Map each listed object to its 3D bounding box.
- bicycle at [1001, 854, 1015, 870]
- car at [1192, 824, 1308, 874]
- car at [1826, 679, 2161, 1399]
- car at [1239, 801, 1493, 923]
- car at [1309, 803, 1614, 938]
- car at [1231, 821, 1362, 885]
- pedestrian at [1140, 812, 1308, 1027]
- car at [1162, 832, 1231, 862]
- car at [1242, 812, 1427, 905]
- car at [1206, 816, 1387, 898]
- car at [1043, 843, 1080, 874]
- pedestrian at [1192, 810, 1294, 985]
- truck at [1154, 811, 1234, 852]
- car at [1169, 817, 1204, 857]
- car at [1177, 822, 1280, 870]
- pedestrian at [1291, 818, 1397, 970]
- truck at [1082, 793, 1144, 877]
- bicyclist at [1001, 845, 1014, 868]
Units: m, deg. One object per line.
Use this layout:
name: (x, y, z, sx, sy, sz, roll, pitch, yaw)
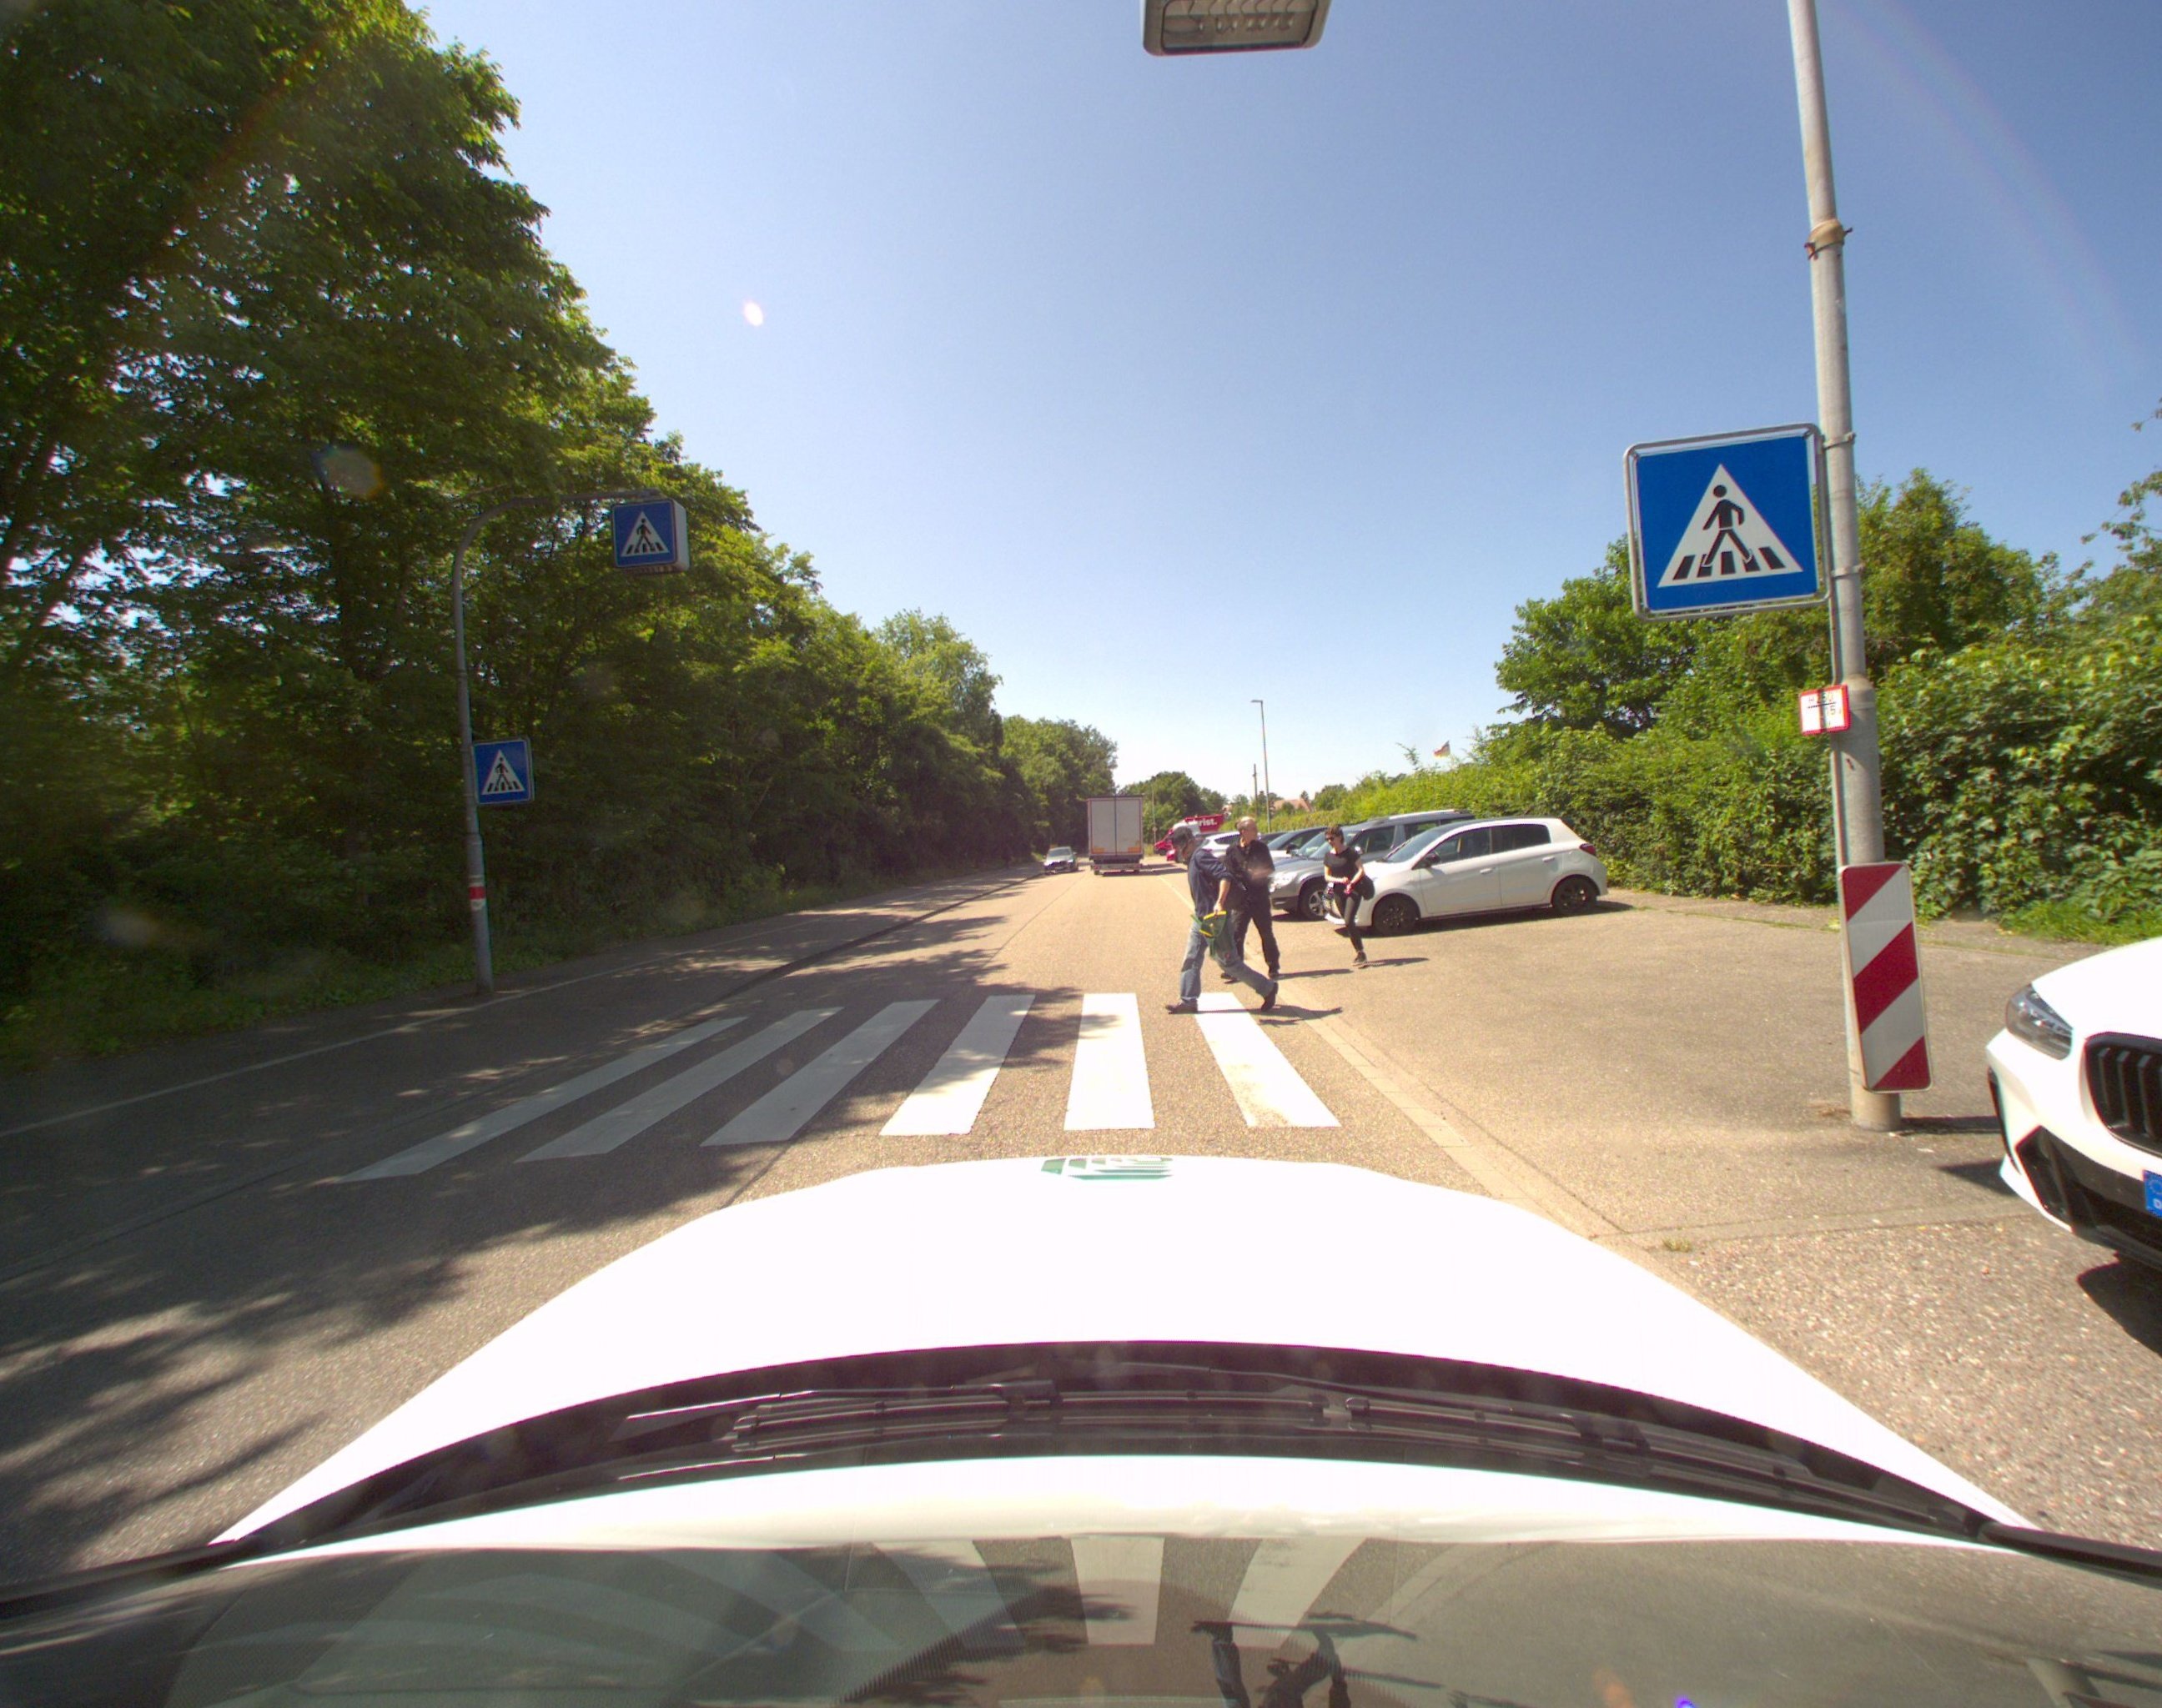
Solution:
bicycle: (-5.176, 0.559, 57.825, 0.558, 1.027, 1.842, -3, 1, 7)
car: (6.831, -0.212, 33.182, 4.262, 1.578, 1.765, -6, 1, 0)
car: (4.744, 0.258, 1.735, 4.436, 1.729, 1.852, -5, 0, 2)
car: (5.127, 0.123, 14.965, 3.952, 1.640, 1.662, -7, 1, -3)
car: (5.460, 0.225, 12.080, 3.671, 1.450, 1.613, -7, 1, 6)
car: (6.204, -0.045, 23.738, 3.371, 1.503, 1.590, -5, 1, 5)
pedestrian: (1.252, 0.541, 7.378, 1.155, 1.751, 1.020, -3, 0, -10)
car: (7.393, -0.453, 52.258, 4.042, 1.434, 1.835, -6, 1, -1)
car: (5.494, 0.080, 17.890, 3.445, 1.527, 1.538, -7, 1, -3)
car: (5.405, 0.045, 20.763, 3.955, 1.522, 1.862, -7, 1, -4)
car: (-1.118, 0.248, 49.215, 1.884, 1.532, 4.198, -7, 1, 1)
pedestrian: (1.868, 0.454, 9.301, 0.774, 1.864, 1.093, 0, 1, 33)
truck: (10.678, -2.136, 76.765, 7.087, 3.439, 2.339, -3, 1, 13)
car: (8.060, -1.316, 62.787, 1.946, 2.733, 7.175, -6, 1, 4)
car: (7.090, -0.373, 39.390, 4.441, 1.804, 1.951, -6, 0, -2)
pedestrian: (3.036, 0.441, 9.380, 0.770, 1.611, 0.902, -7, -1, 33)
truck: (1.880, -0.980, 44.299, 2.722, 3.745, 13.258, -2, 1, 3)
bicyclist: (-5.207, 0.170, 57.838, 0.645, 1.565, 0.838, -3, 1, 6)
